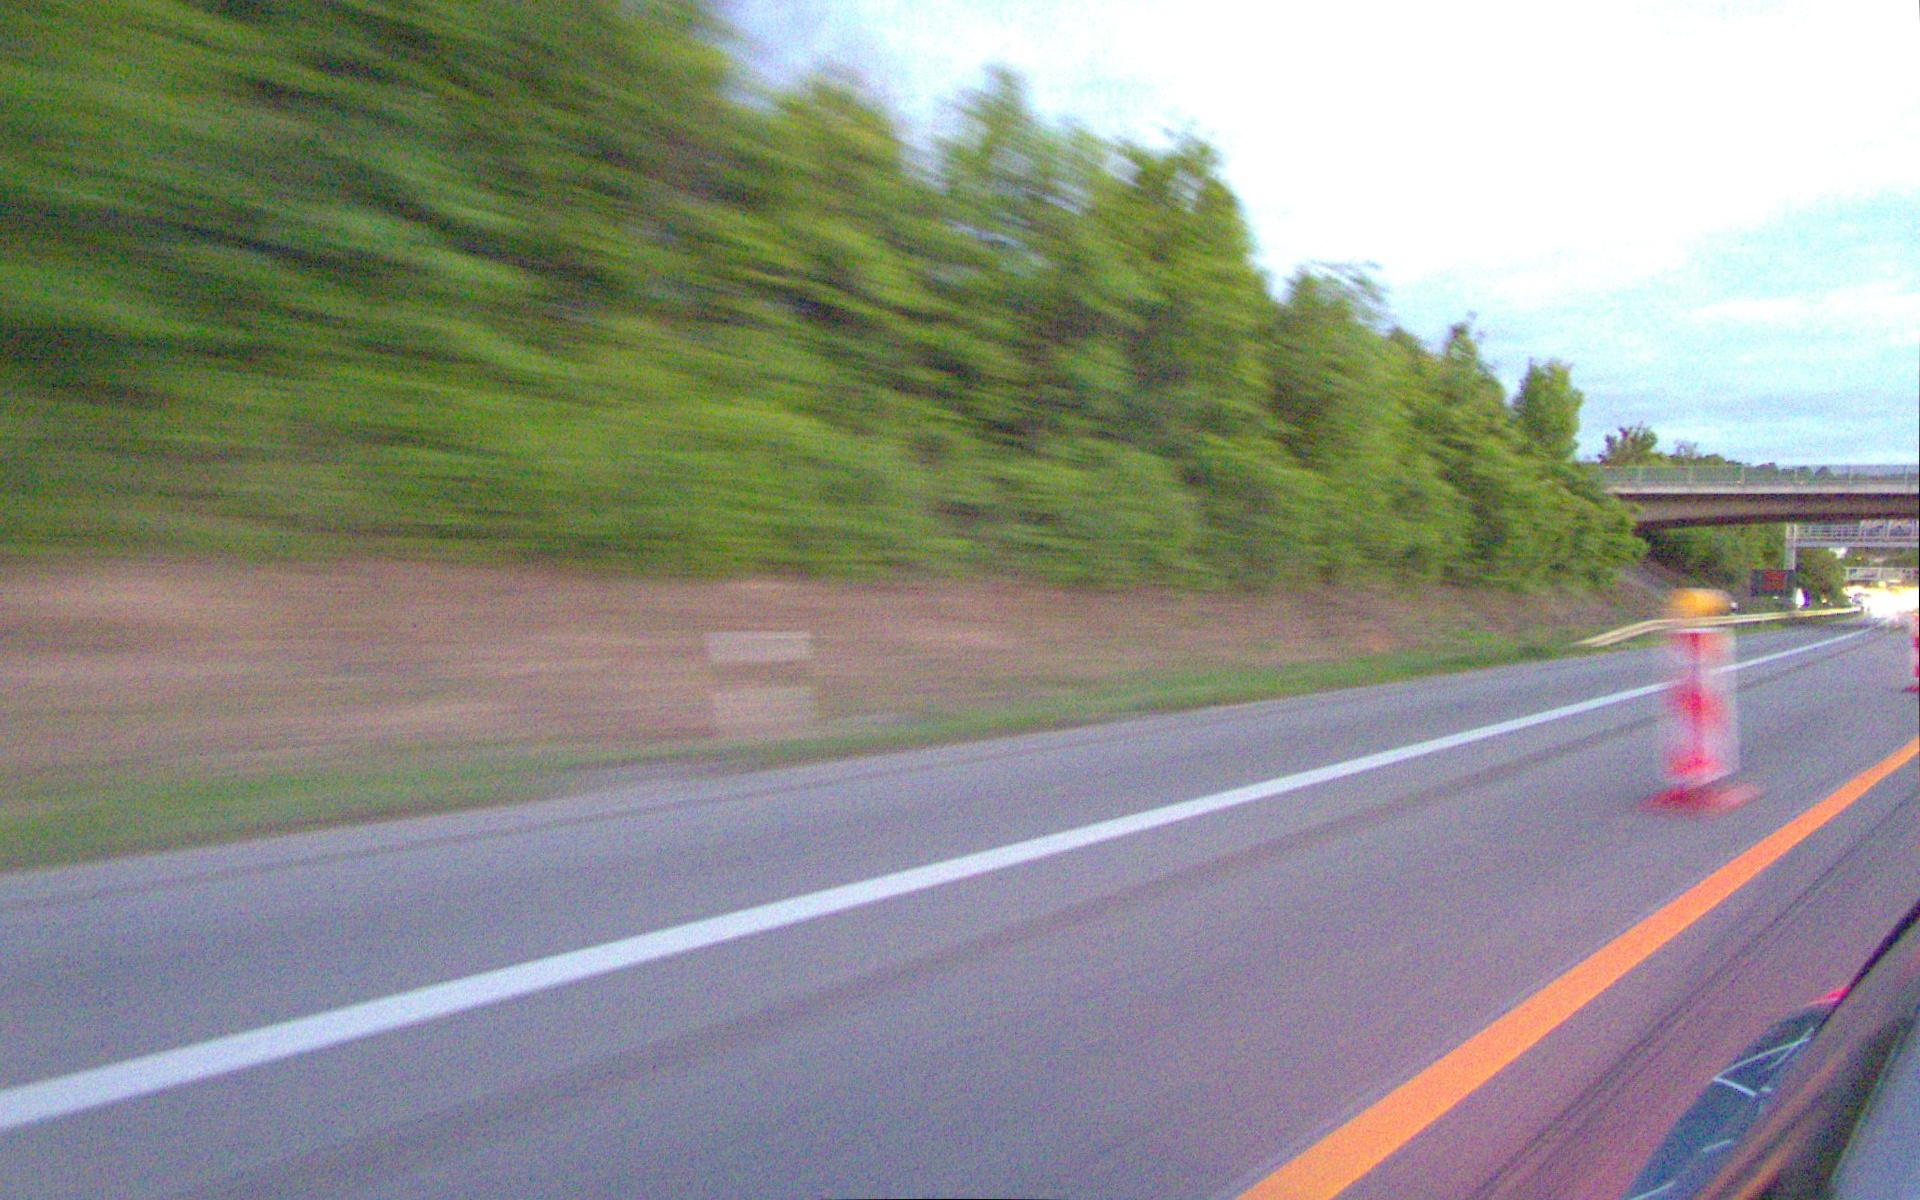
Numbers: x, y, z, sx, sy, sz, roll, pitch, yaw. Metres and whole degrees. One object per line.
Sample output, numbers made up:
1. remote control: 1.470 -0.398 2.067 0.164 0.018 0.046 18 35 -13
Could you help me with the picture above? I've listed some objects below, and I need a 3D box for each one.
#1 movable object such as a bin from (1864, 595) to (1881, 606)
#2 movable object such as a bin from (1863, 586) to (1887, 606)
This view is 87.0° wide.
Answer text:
1. movable object such as a bin: 152.672 0.036 169.277 1.993 1.621 4.023 3 3 42
2. movable object such as a bin: 149.594 -0.680 165.480 2.618 3.146 5.720 2 1 41
